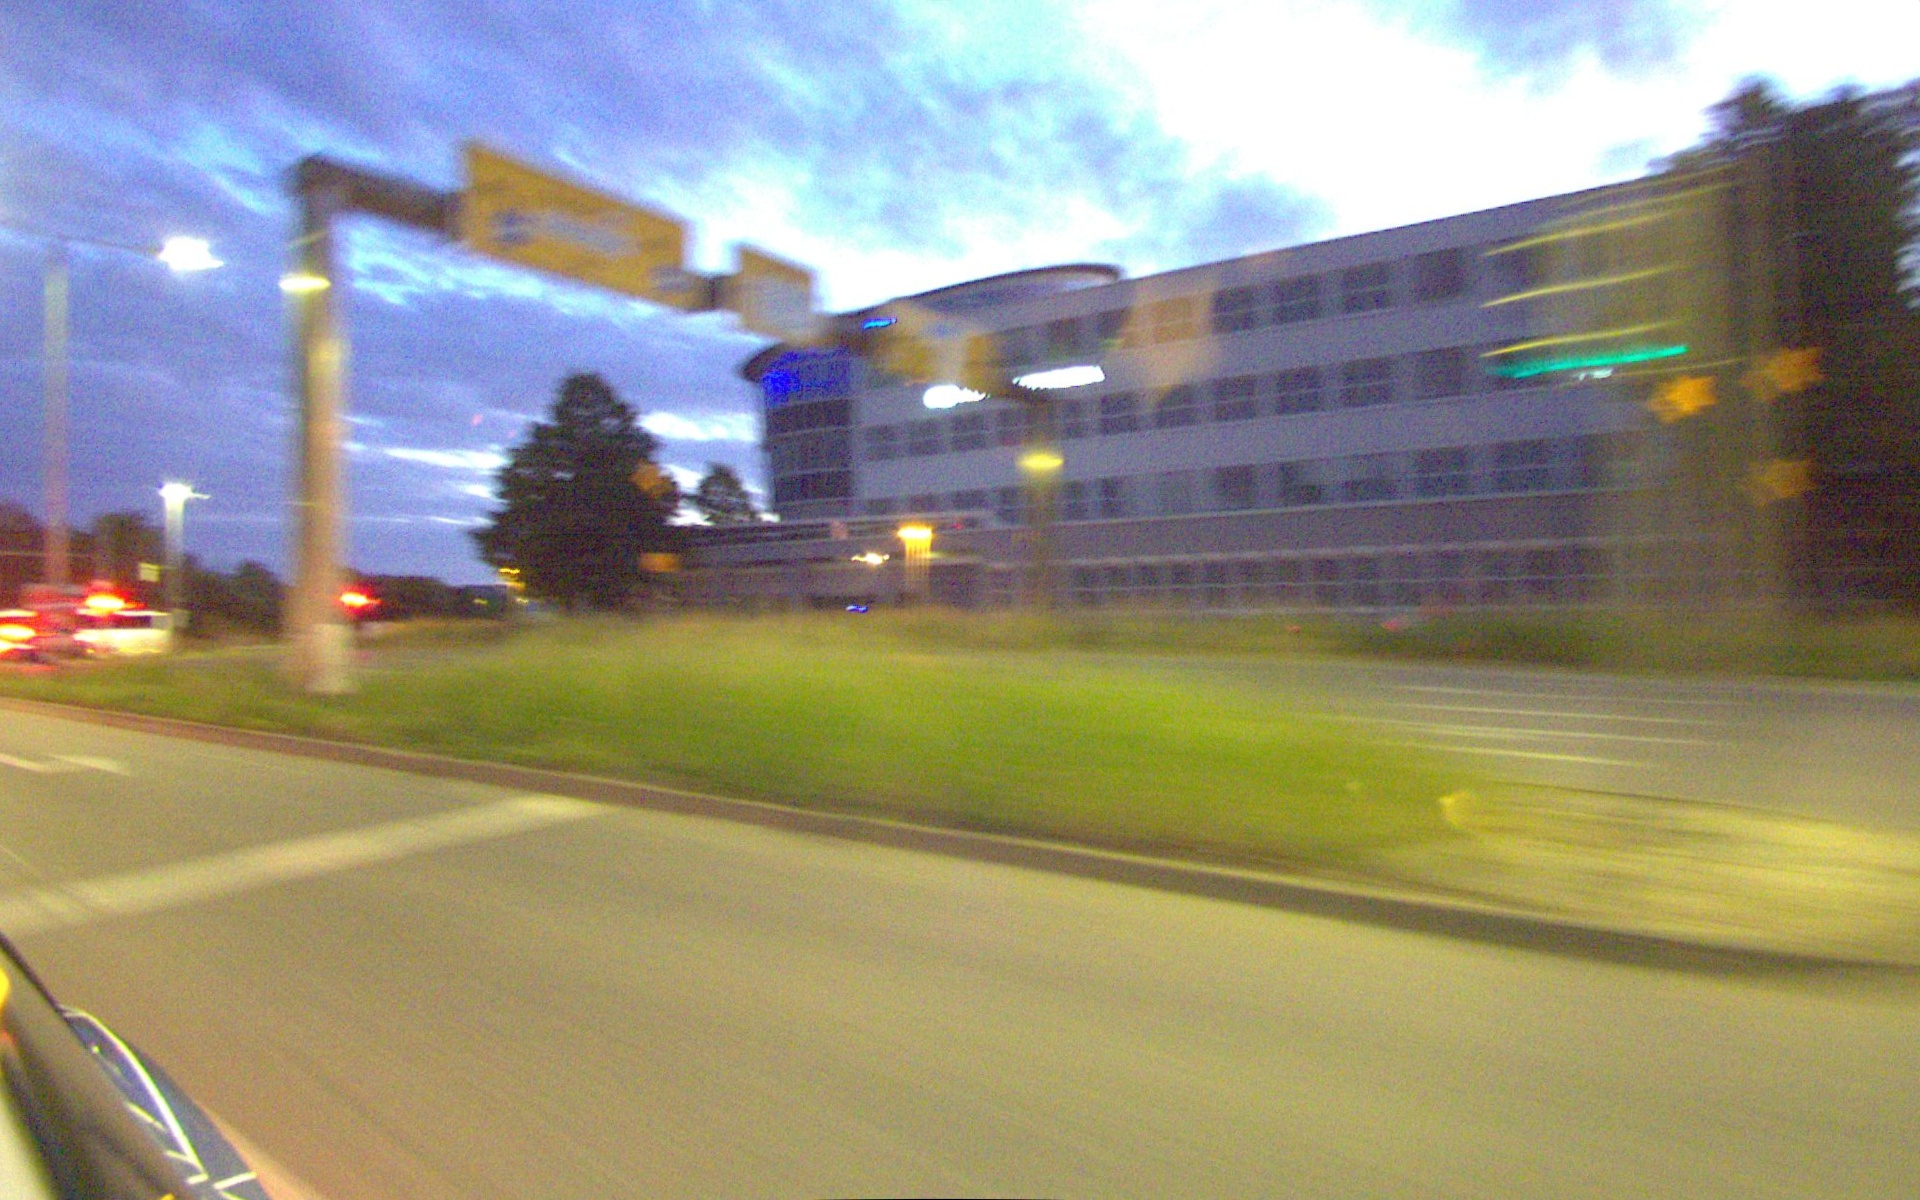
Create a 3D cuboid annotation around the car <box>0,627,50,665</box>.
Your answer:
[{"bbox_3d":[-37.887,1.870,40.033,4.828,1.408,1.854,-3,-2,36],"label":"car"}]

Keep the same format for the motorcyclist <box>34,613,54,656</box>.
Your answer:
[{"bbox_3d":[-44.011,1.648,48.616,0.767,2.029,0.627,-4,-3,41],"label":"motorcyclist"}]

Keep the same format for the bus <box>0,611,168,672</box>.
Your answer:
[{"bbox_3d":[-61.301,2.789,68.320,2.608,3.819,12.137,-5,-3,33],"label":"bus"}]

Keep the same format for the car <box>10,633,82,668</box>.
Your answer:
[{"bbox_3d":[-41.336,2.297,45.764,3.774,1.458,1.753,-4,-3,37],"label":"car"}]

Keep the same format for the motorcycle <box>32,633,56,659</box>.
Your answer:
[{"bbox_3d":[-44.034,2.232,48.621,1.807,1.172,0.664,-4,-3,41],"label":"motorcycle"}]
